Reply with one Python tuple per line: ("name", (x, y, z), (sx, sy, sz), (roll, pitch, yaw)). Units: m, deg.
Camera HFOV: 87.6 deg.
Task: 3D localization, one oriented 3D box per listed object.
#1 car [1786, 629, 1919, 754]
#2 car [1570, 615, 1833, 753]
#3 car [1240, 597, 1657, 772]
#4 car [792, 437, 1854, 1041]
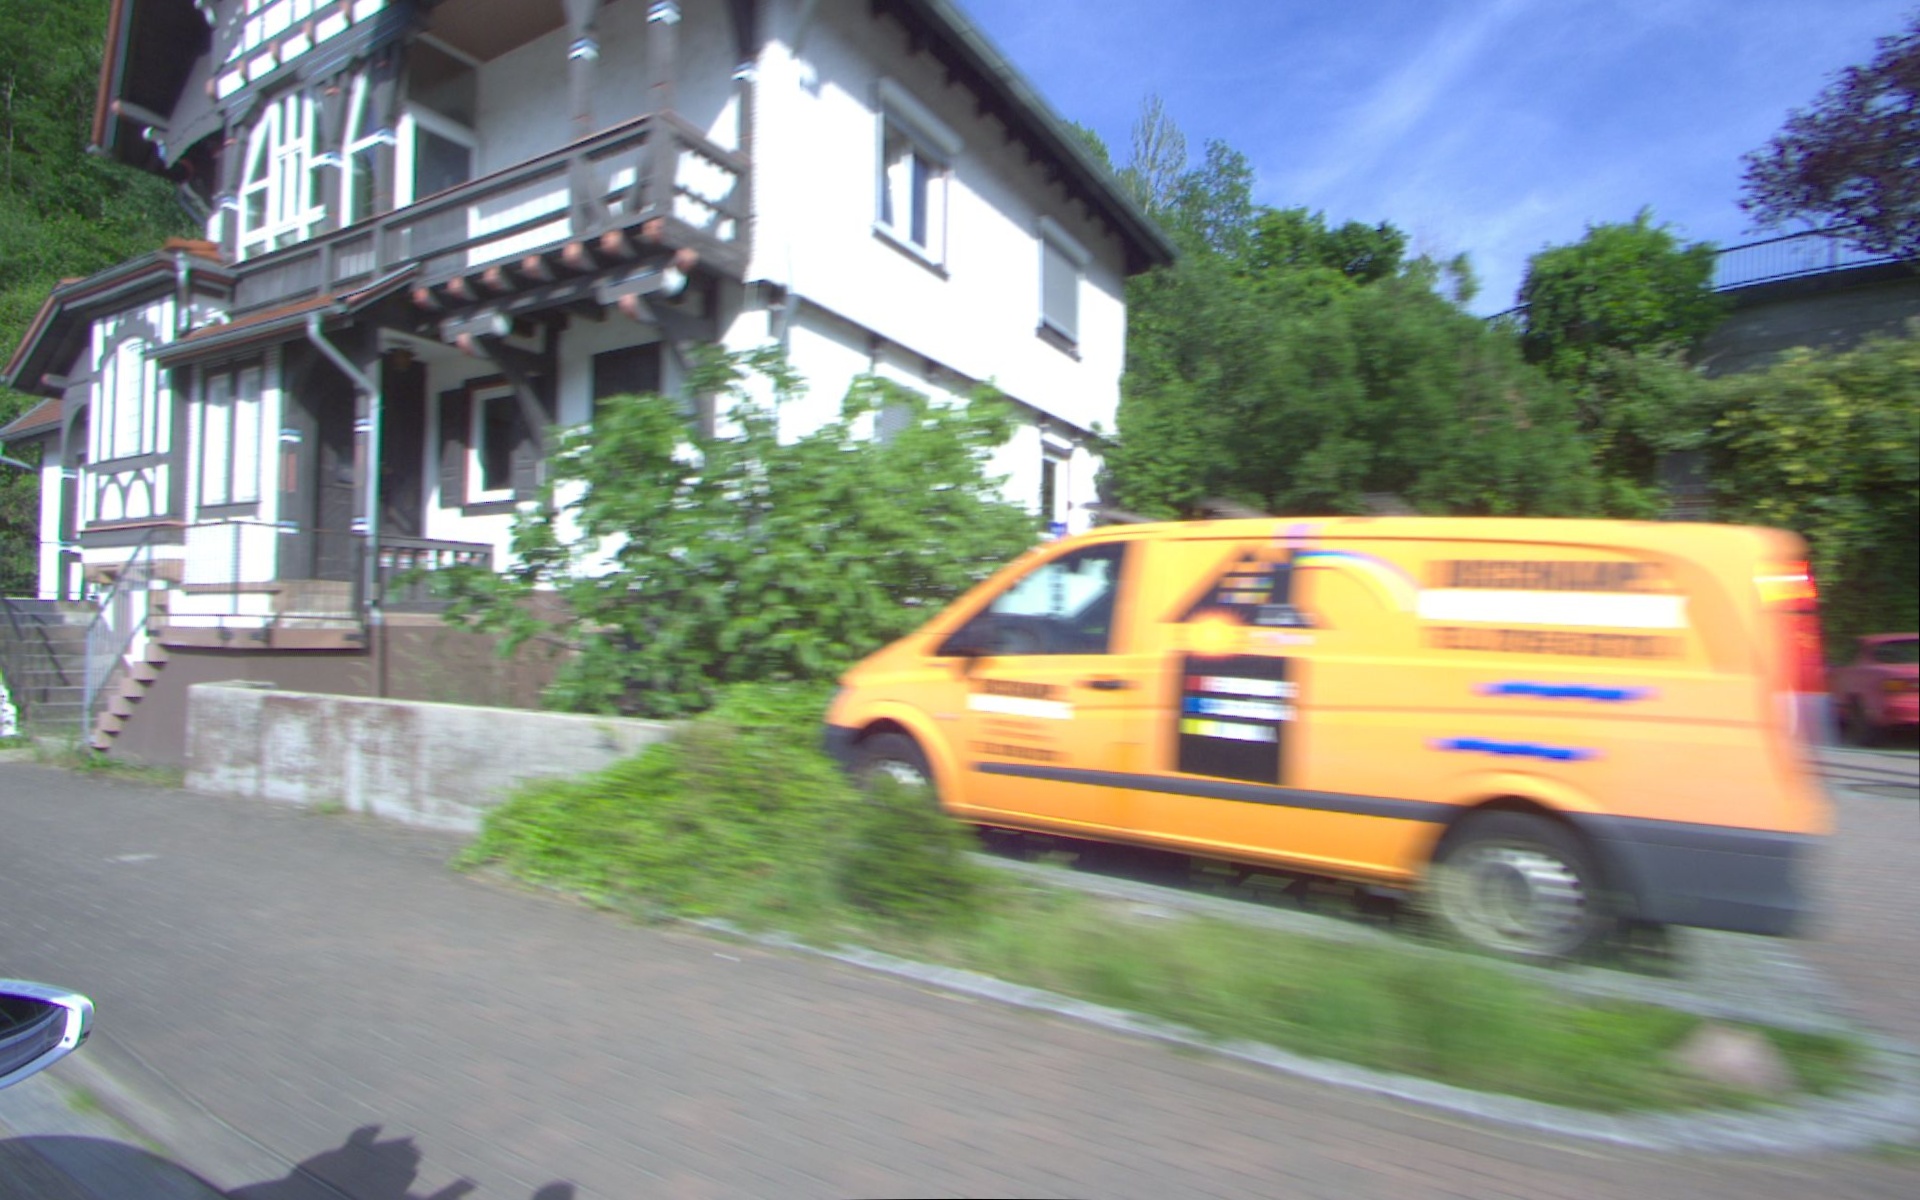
("car", (11.809, 1.035, 12.338), (1.730, 1.306, 3.880), (-1, -1, 28))
("car", (9.211, 0.946, 12.820), (1.791, 1.470, 3.885), (-1, -1, 23))
("car", (5.588, 0.826, 11.694), (4.099, 1.600, 1.747), (2, 1, 35))
("car", (1.512, 0.508, 5.471), (4.766, 2.023, 1.905), (0, -1, 33))
